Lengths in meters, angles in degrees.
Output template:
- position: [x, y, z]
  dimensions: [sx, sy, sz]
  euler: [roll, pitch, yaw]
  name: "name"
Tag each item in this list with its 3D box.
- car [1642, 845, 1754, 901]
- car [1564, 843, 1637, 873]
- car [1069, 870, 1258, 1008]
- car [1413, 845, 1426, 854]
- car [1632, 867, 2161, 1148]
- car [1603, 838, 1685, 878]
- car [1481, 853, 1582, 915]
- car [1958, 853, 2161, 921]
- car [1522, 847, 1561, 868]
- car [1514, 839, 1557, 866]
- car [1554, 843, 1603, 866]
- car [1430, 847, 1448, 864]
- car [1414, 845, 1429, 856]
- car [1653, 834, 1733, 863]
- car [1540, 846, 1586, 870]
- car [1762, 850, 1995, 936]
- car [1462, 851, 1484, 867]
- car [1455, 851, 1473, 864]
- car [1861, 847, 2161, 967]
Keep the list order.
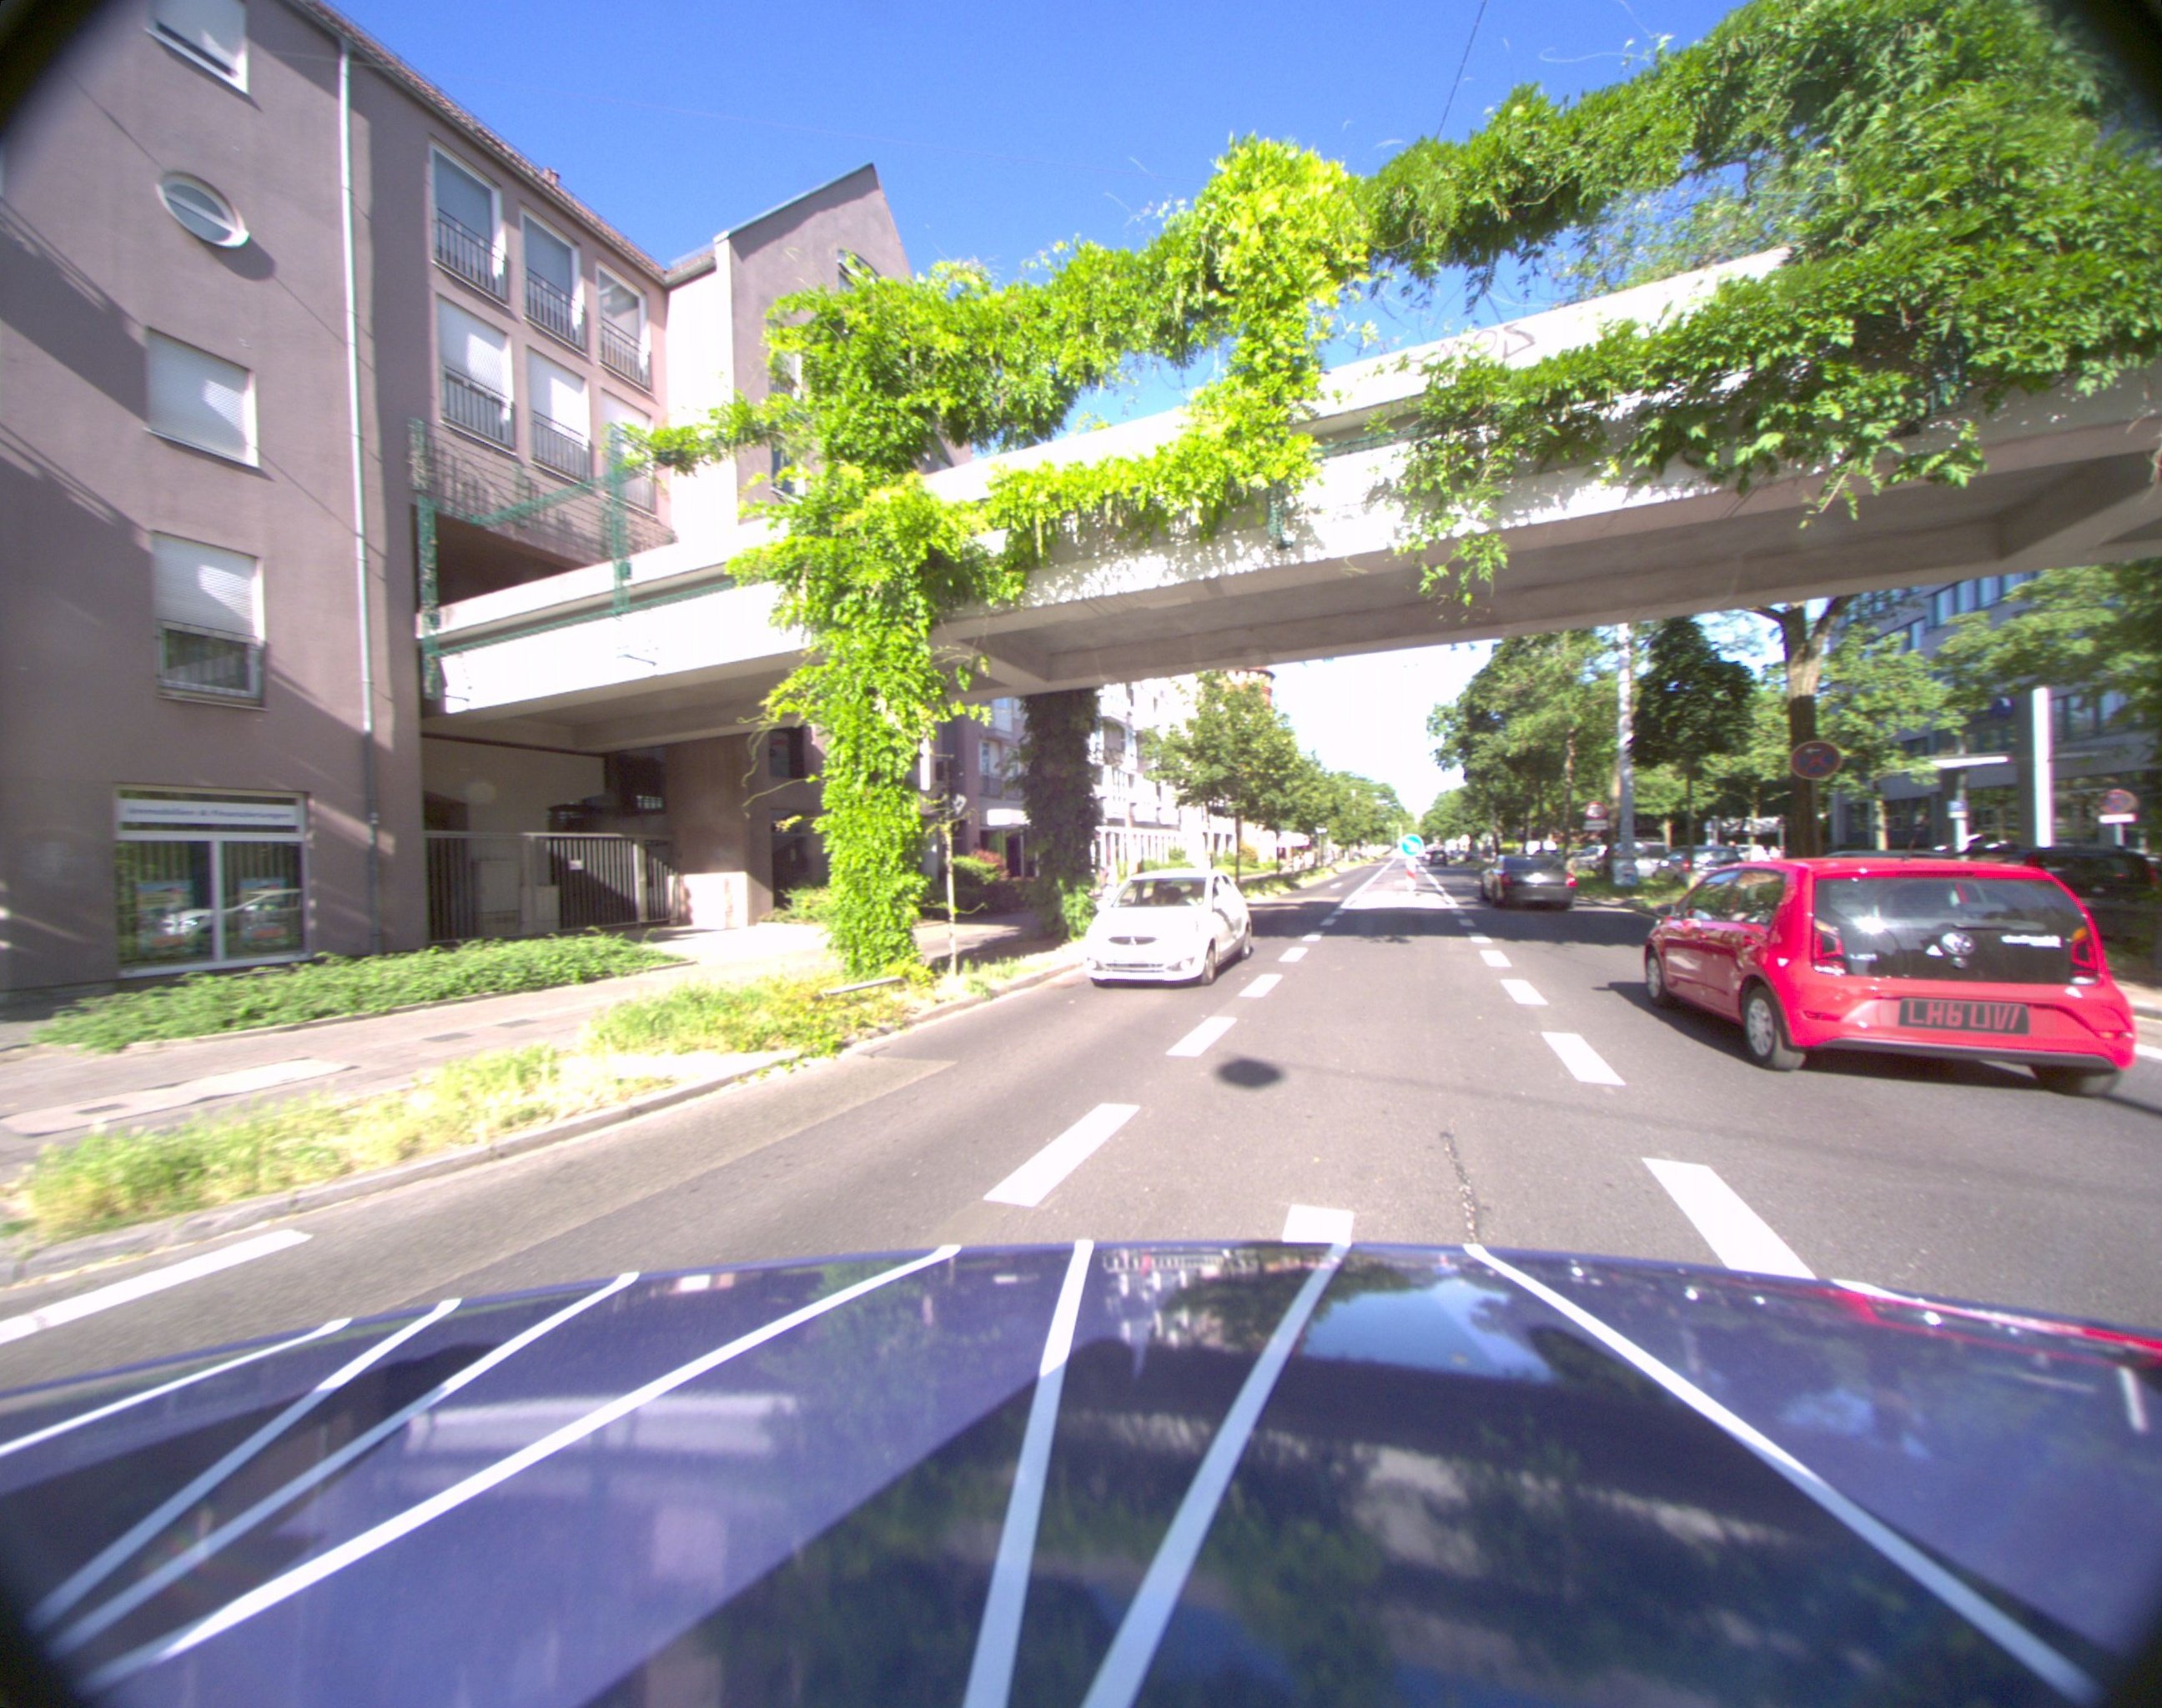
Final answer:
- position: [19.897, 0.552, 24.710]
  dimensions: [1.774, 1.637, 4.089]
  euler: [-1, 0, 23]
  name: "car"
- position: [25.673, 0.183, 37.713]
  dimensions: [1.718, 1.375, 4.498]
  euler: [-1, 0, 17]
  name: "car"
- position: [1.417, 1.071, 11.244]
  dimensions: [1.661, 1.521, 4.106]
  euler: [-1, 0, 22]
  name: "car"
- position: [57.698, -0.784, 129.502]
  dimensions: [1.789, 1.575, 4.195]
  euler: [-1, 0, 22]
  name: "car"
- position: [5.831, 0.865, 5.983]
  dimensions: [1.653, 1.420, 3.512]
  euler: [-1, 0, 23]
  name: "car"
- position: [23.394, 0.149, 31.737]
  dimensions: [1.731, 1.540, 4.455]
  euler: [-1, 0, 23]
  name: "car"
- position: [12.335, 0.743, 21.077]
  dimensions: [1.867, 1.450, 4.600]
  euler: [-1, 1, 24]
  name: "car"
- position: [23.427, 0.708, 18.091]
  dimensions: [1.683, 1.395, 3.806]
  euler: [-1, 1, 20]
  name: "car"
- position: [31.345, 0.247, 51.771]
  dimensions: [1.677, 1.325, 4.195]
  euler: [-1, 0, 23]
  name: "car"
- position: [33.744, -0.122, 56.547]
  dimensions: [2.067, 1.898, 4.532]
  euler: [-1, 0, 22]
  name: "car"
- position: [27.417, 0.003, 41.945]
  dimensions: [1.653, 1.219, 3.853]
  euler: [-1, 0, 24]
  name: "car"
- position: [33.395, 0.123, 70.857]
  dimensions: [1.468, 1.518, 2.821]
  euler: [-1, 1, 24]
  name: "car"
- position: [46.618, -0.494, 103.961]
  dimensions: [1.789, 1.414, 4.195]
  euler: [0, 1, 23]
  name: "car"
- position: [42.106, -0.383, 52.401]
  dimensions: [3.990, 1.703, 1.708]
  euler: [-4, 0, 28]
  name: "car"
- position: [29.638, 0.228, 46.851]
  dimensions: [1.654, 1.336, 3.975]
  euler: [-1, 0, 22]
  name: "car"
- position: [16.252, 0.692, 15.822]
  dimensions: [1.653, 1.440, 4.288]
  euler: [3, 2, 22]
  name: "car"
- position: [39.836, 0.503, 77.259]
  dimensions: [1.738, 1.481, 4.006]
  euler: [-1, 0, 24]
  name: "car"
- position: [44.220, 0.342, 87.795]
  dimensions: [1.603, 1.406, 4.006]
  euler: [-1, 0, 24]
  name: "car"
- position: [14.447, 0.679, 11.902]
  dimensions: [1.741, 1.530, 3.785]
  euler: [1, 1, 23]
  name: "car"
